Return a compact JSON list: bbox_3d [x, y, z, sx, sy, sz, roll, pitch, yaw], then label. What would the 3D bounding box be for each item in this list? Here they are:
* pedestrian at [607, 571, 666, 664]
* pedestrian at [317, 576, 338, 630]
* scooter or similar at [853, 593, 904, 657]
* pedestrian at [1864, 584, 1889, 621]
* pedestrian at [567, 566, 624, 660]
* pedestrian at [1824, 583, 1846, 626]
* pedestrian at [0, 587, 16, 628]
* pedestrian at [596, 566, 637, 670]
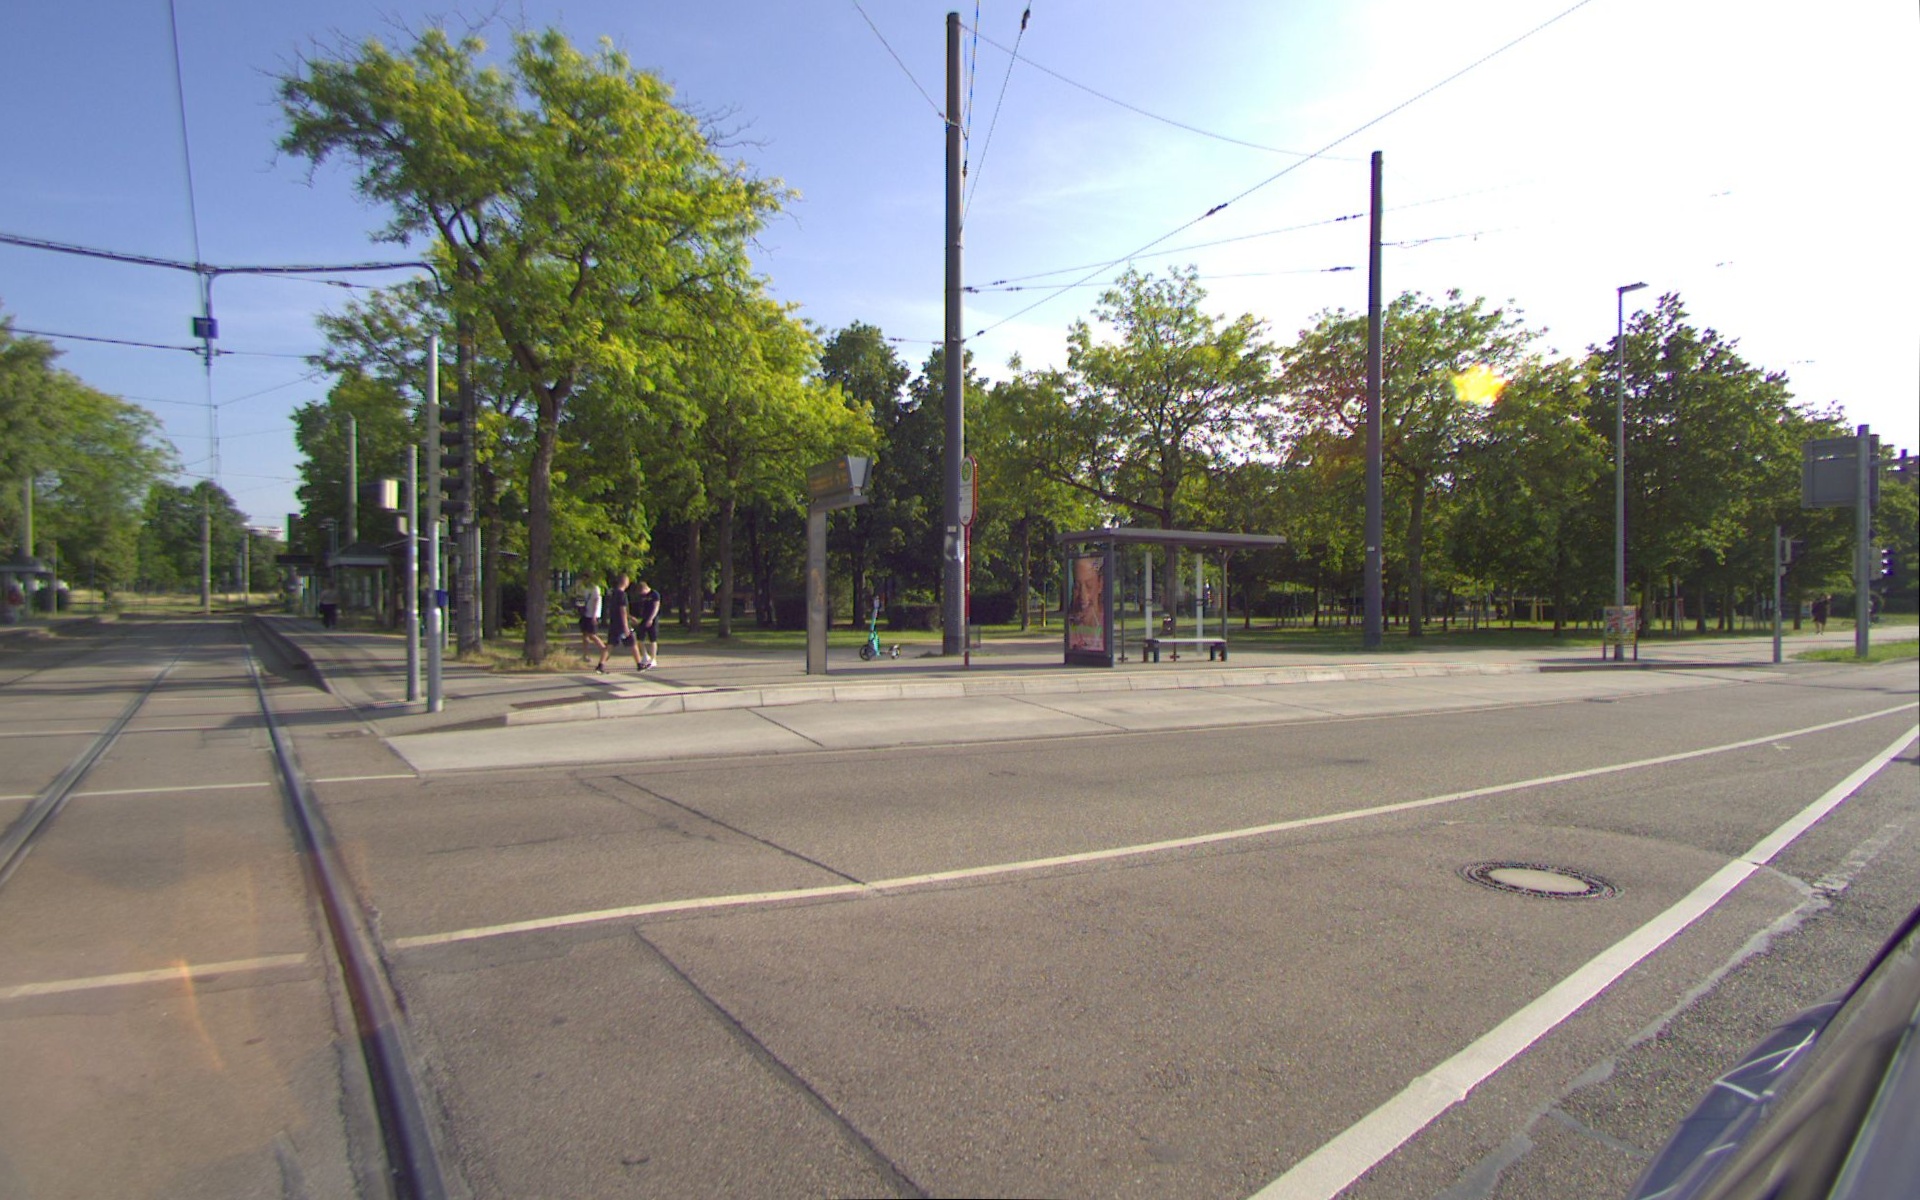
[{"bbox_3d":[-6.439,0.350,20.161,0.669,1.800,0.869,-3,-3,35],"label":"pedestrian"},{"bbox_3d":[-22.614,0.109,36.166,0.594,1.892,0.462,-1,-2,-32],"label":"pedestrian"},{"bbox_3d":[-1.619,0.481,20.202,0.350,1.247,1.119,0,0,40],"label":"scooter or similar"},{"bbox_3d":[41.263,0.105,45.558,0.649,1.672,0.623,0,0,-27],"label":"pedestrian"},{"bbox_3d":[-7.639,0.280,21.209,0.667,1.922,0.871,-3,-2,27],"label":"pedestrian"},{"bbox_3d":[35.441,0.167,40.996,0.650,1.722,0.558,0,0,-36],"label":"pedestrian"},{"bbox_3d":[-40.015,0.304,42.525,0.476,1.686,0.414,0,0,-37],"label":"pedestrian"},{"bbox_3d":[-6.065,0.316,17.858,0.575,1.800,0.580,0,-2,-27],"label":"pedestrian"}]
